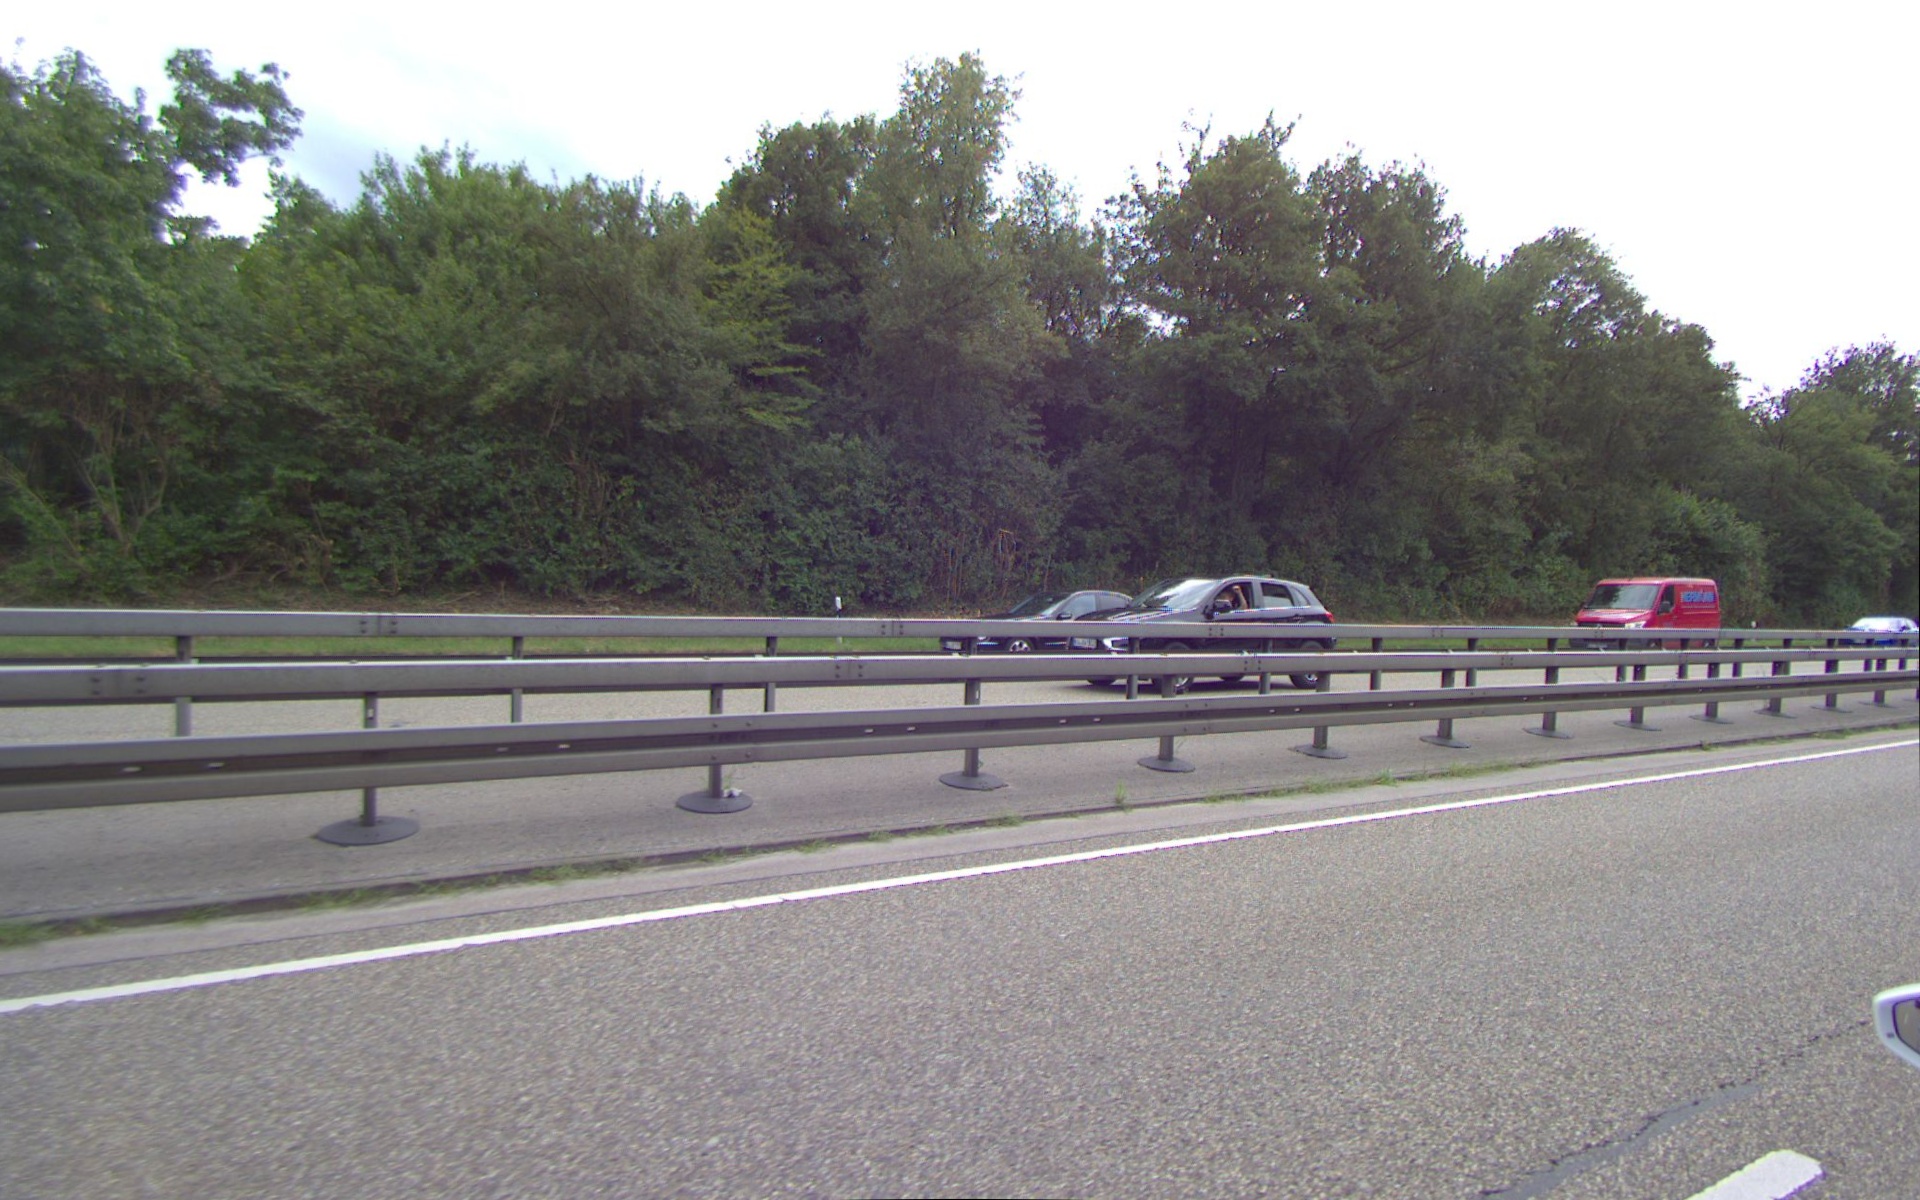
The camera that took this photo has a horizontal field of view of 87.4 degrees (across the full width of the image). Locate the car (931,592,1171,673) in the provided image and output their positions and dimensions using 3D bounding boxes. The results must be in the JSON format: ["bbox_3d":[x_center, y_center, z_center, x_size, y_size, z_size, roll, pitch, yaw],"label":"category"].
[{"bbox_3d":[1.676,0.573,18.107,4.060,1.313,1.765,2,-1,-31],"label":"car"}]

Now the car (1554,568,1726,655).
[{"bbox_3d":[19.337,0.368,28.491,5.315,2.286,2.055,2,-1,-32],"label":"car"}]

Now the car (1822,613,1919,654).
[{"bbox_3d":[36.682,1.328,40.238,4.454,1.530,1.983,2,-1,-31],"label":"car"}]

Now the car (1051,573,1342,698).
[{"bbox_3d":[3.446,0.499,14.475,3.968,1.584,1.773,2,-1,-31],"label":"car"}]
